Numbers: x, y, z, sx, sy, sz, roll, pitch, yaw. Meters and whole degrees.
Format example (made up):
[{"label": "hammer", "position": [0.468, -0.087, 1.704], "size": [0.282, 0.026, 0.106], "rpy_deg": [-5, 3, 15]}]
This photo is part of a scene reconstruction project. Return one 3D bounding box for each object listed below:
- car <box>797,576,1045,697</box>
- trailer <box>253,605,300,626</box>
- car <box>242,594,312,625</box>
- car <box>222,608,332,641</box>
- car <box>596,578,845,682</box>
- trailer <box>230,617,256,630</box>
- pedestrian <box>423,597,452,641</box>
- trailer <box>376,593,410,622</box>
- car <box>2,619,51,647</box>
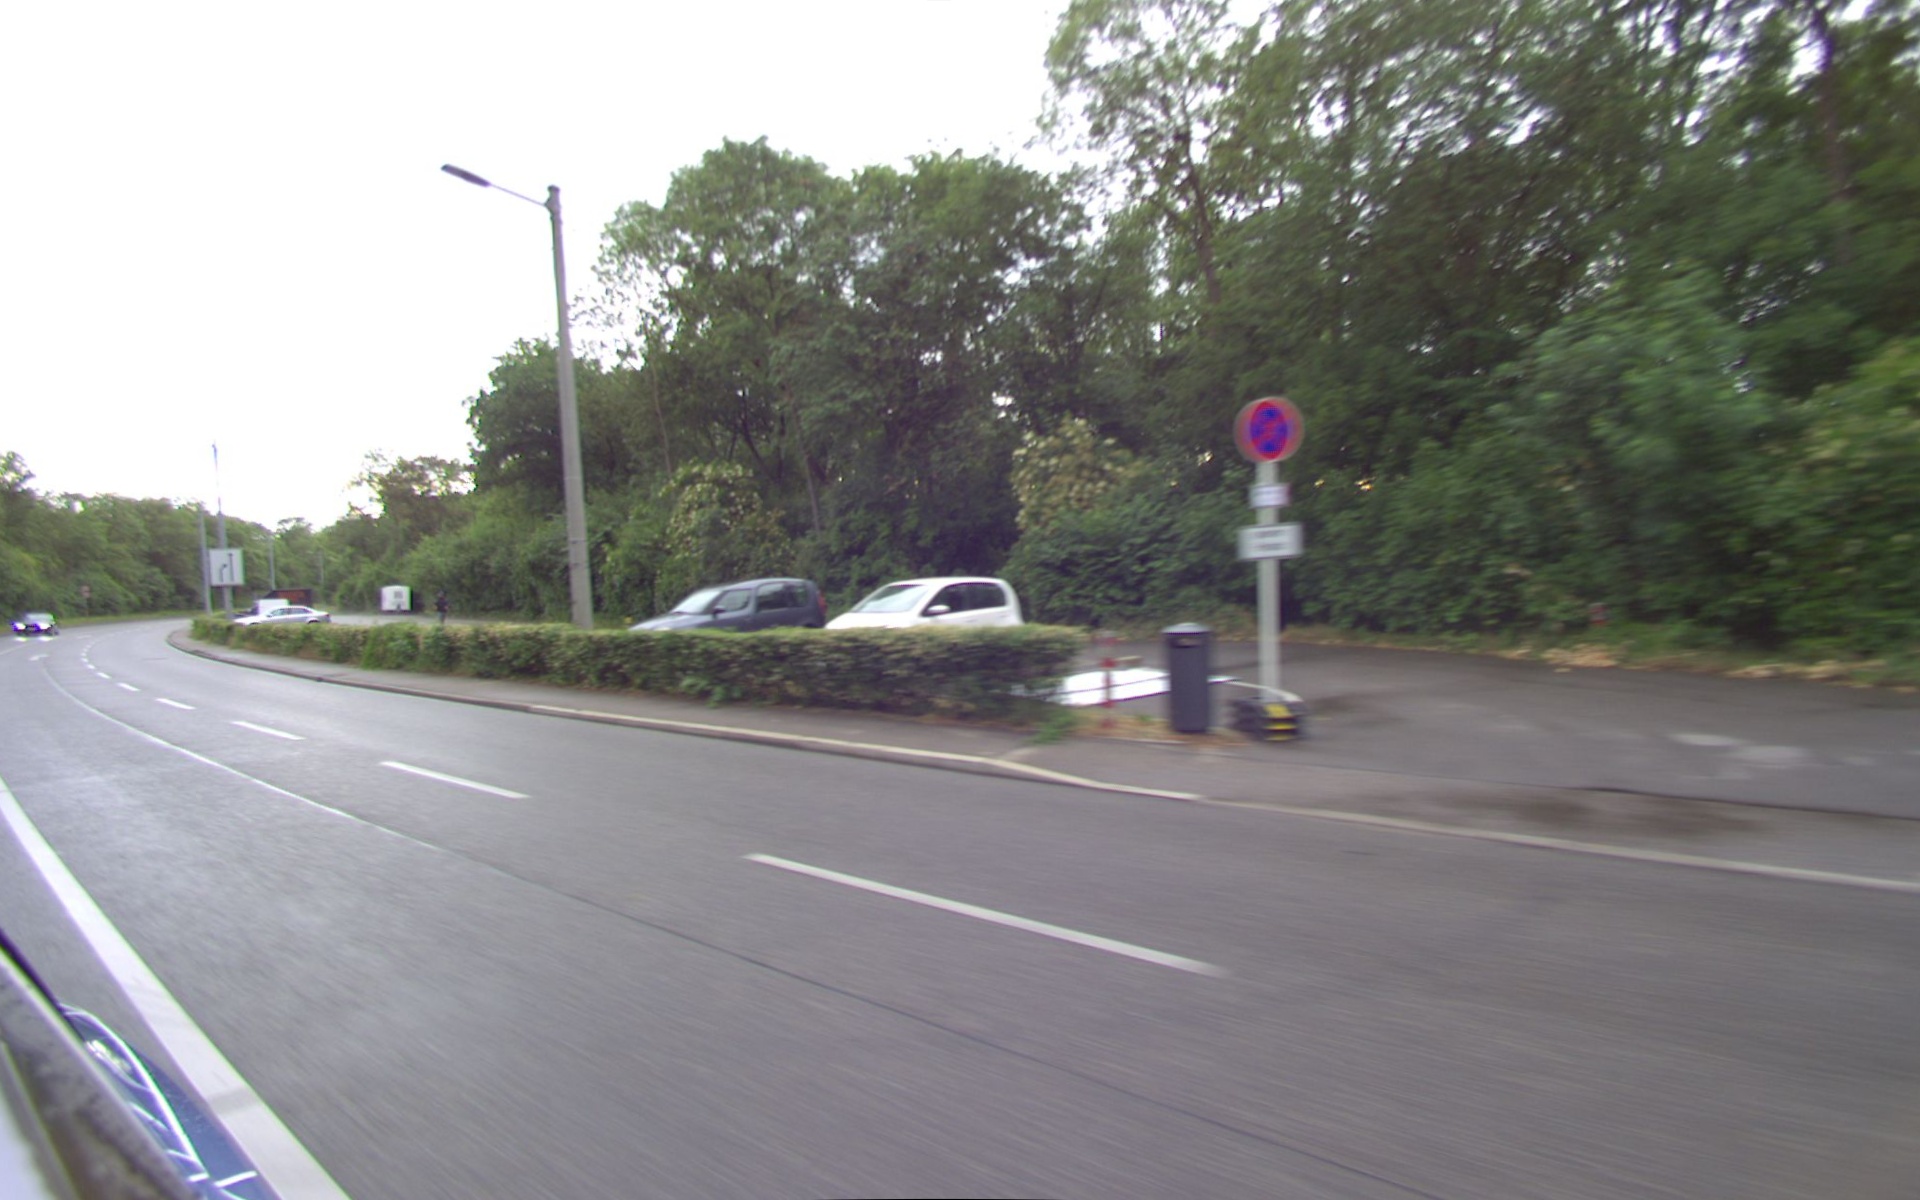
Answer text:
[{"label": "car", "position": [-0.508, 0.481, 15.666], "size": [1.851, 1.603, 3.607], "rpy_deg": [-1, 1, 41]}, {"label": "trailer", "position": [-71.004, 1.578, 105.183], "size": [3.932, 2.068, 1.879], "rpy_deg": [-1, 0, -30]}, {"label": "car", "position": [-73.977, 0.995, 109.769], "size": [6.187, 3.136, 2.759], "rpy_deg": [-2, 1, -33]}, {"label": "car", "position": [-36.148, 1.255, 53.617], "size": [2.001, 1.517, 4.524], "rpy_deg": [-1, 1, 44]}, {"label": "car", "position": [-4.561, 0.507, 19.616], "size": [4.240, 1.721, 2.002], "rpy_deg": [-2, 1, -42]}, {"label": "trailer", "position": [-61.438, 1.987, 86.744], "size": [1.777, 1.042, 1.337], "rpy_deg": [-2, 0, -37]}, {"label": "pedestrian", "position": [-21.916, 0.784, 42.475], "size": [0.807, 1.811, 1.137], "rpy_deg": [-1, 0, -41]}, {"label": "trailer", "position": [-59.340, 0.735, 105.841], "size": [2.442, 2.895, 7.999], "rpy_deg": [-1, 0, -33]}, {"label": "car", "position": [-61.408, 2.149, 66.622], "size": [1.968, 1.696, 4.008], "rpy_deg": [-1, 0, -38]}]
